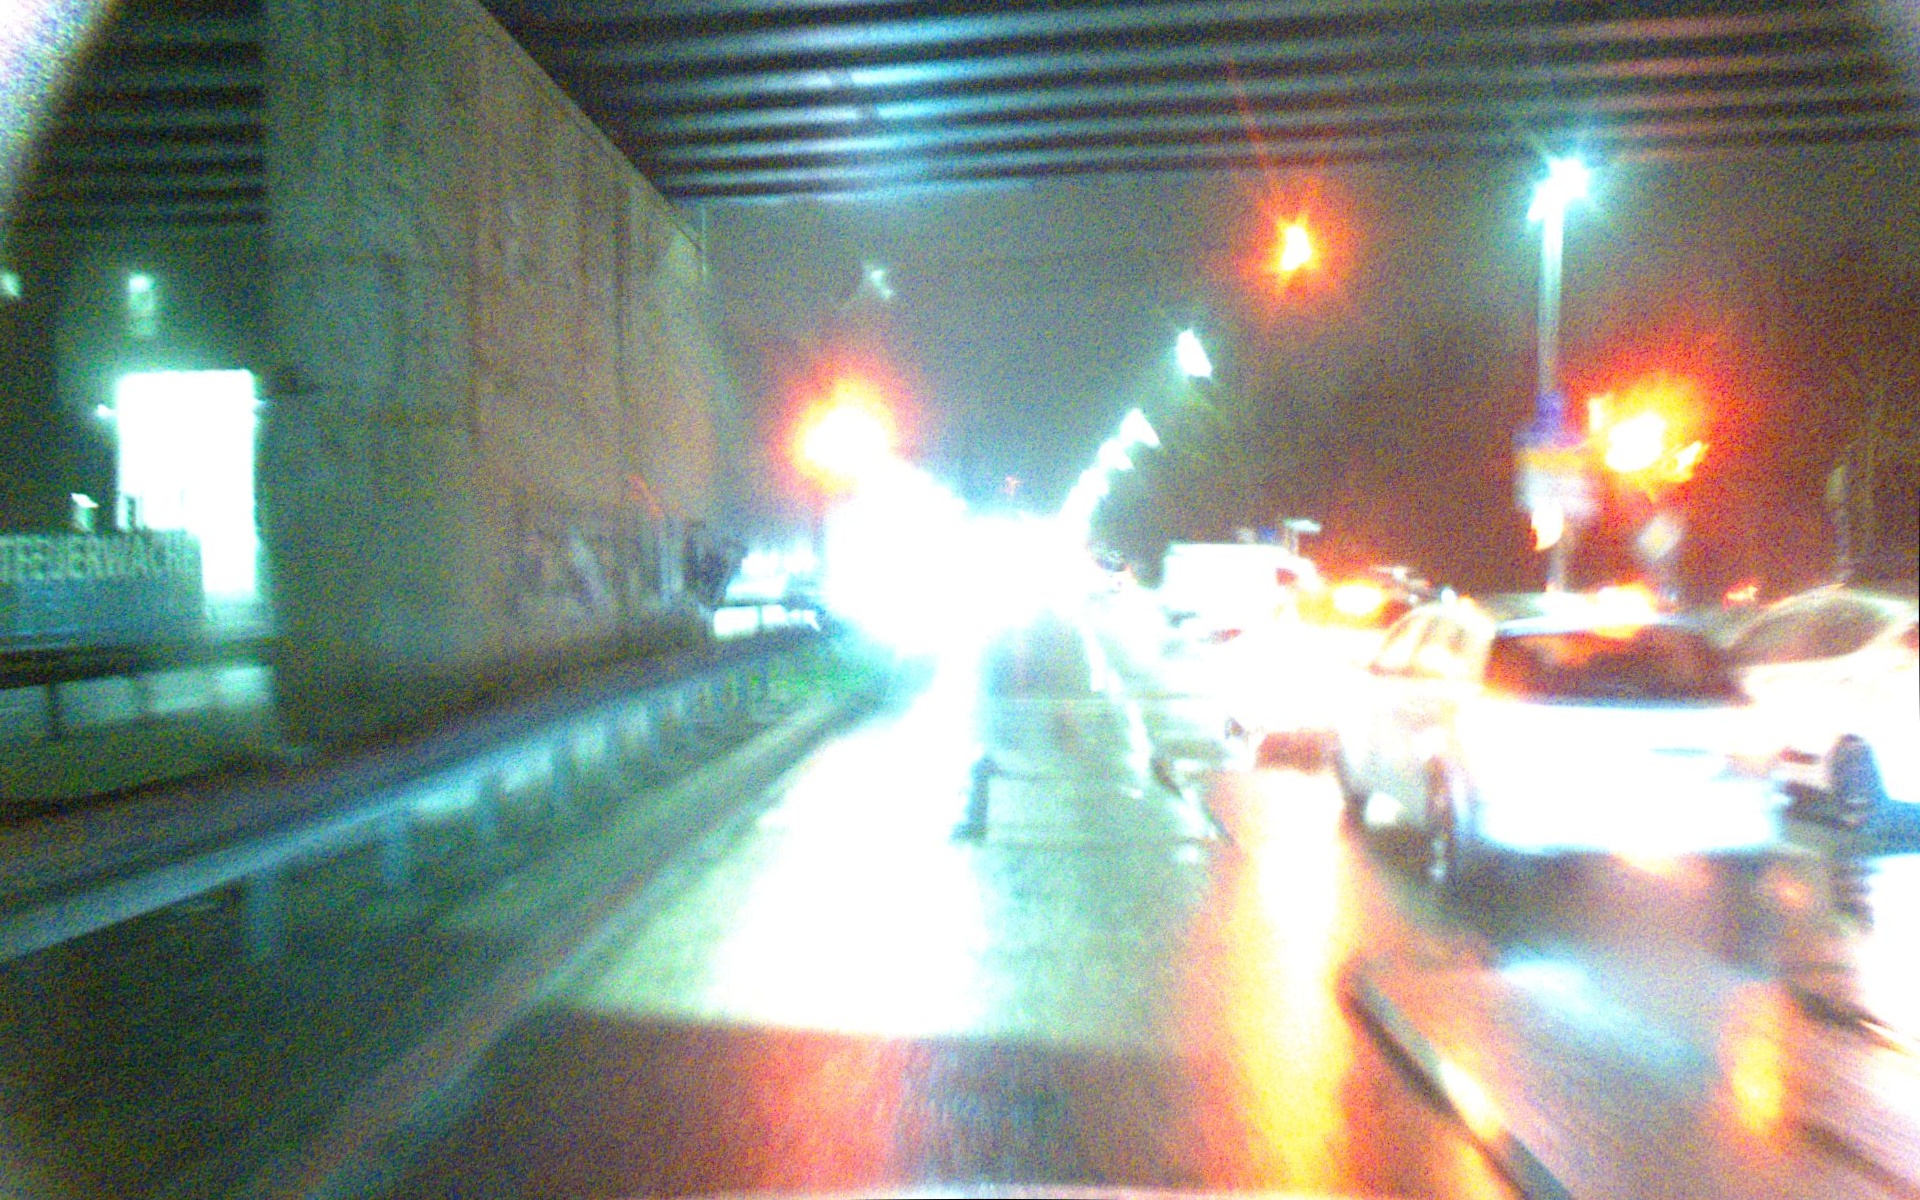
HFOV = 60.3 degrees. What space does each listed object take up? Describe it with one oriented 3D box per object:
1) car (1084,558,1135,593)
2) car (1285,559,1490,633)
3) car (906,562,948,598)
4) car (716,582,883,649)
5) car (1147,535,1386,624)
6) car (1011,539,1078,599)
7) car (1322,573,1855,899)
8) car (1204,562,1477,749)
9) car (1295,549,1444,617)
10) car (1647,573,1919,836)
[{"bbox_3d":[6.955,-1.122,77.301,2.048,1.572,4.307,0,0,1],"label":"car"},{"bbox_3d":[9.933,-0.110,38.508,4.287,1.651,1.833,0,0,31],"label":"car"},{"bbox_3d":[-1.618,-0.951,79.949,1.864,1.646,4.511,0,0,-3],"label":"car"},{"bbox_3d":[-4.255,0.382,43.572,4.343,1.678,1.829,0,0,38],"label":"car"},{"bbox_3d":[6.537,-0.430,35.360,4.727,1.800,1.835,0,0,26],"label":"car"},{"bbox_3d":[3.214,-1.170,63.920,2.391,2.232,5.079,0,0,1],"label":"car"},{"bbox_3d":[3.293,0.595,9.567,1.684,1.472,4.164,0,1,3],"label":"car"},{"bbox_3d":[3.413,0.430,15.629,1.684,1.472,4.384,-2,0,2],"label":"car"},{"bbox_3d":[12.855,-0.530,51.984,4.210,2.049,2.043,0,0,27],"label":"car"},{"bbox_3d":[6.390,0.570,11.408,1.684,1.472,4.163,-2,0,2],"label":"car"}]
